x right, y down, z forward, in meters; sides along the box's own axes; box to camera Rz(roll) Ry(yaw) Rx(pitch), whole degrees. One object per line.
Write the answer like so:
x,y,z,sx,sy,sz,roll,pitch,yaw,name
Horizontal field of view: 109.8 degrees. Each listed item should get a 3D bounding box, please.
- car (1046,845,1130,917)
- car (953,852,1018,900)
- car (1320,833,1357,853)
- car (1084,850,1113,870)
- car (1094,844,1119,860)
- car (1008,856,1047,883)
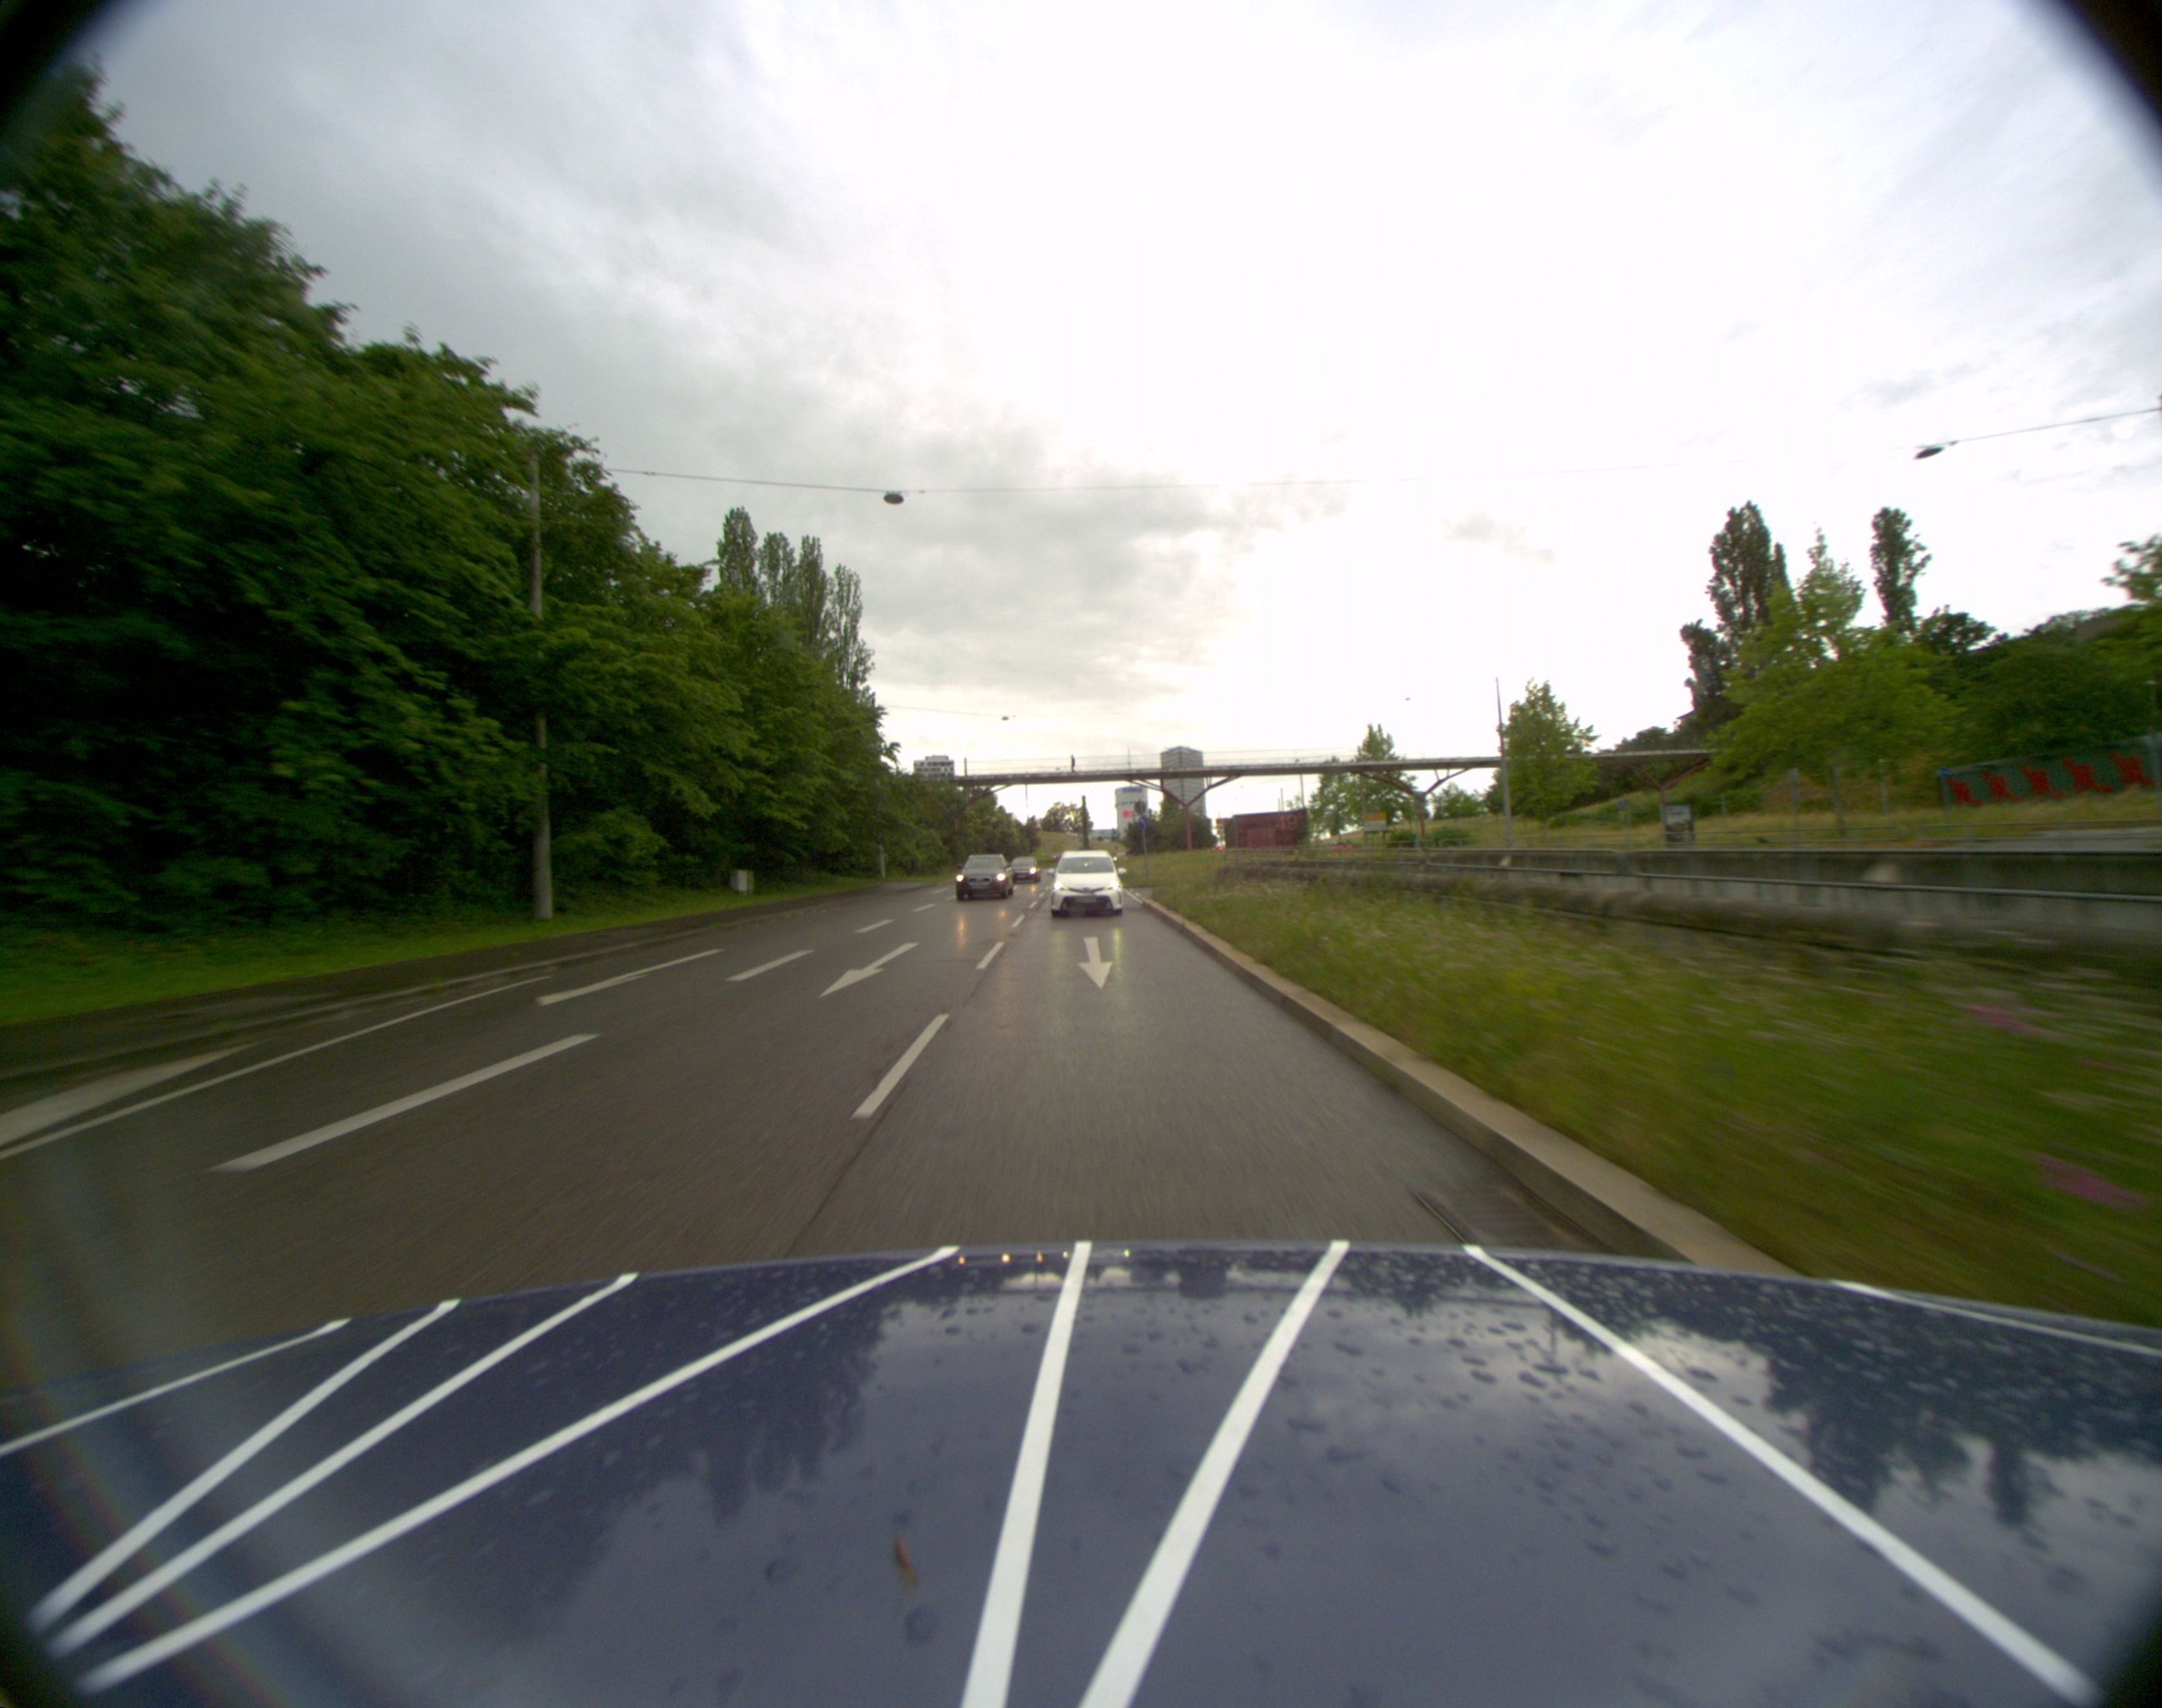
0.289,0.622,20.063,1.924,1.604,4.376,-3,0,3,car
-3.453,0.768,28.303,1.928,1.591,4.278,-1,1,-1,car
21.824,-0.932,64.578,1.661,1.519,4.435,-4,0,1,car
1.867,0.600,79.187,1.996,1.761,4.004,-4,0,15,car
3.056,-0.247,89.271,1.996,1.761,4.004,-2,0,15,car
-3.051,0.853,44.137,1.846,1.377,4.000,-3,0,1,car
